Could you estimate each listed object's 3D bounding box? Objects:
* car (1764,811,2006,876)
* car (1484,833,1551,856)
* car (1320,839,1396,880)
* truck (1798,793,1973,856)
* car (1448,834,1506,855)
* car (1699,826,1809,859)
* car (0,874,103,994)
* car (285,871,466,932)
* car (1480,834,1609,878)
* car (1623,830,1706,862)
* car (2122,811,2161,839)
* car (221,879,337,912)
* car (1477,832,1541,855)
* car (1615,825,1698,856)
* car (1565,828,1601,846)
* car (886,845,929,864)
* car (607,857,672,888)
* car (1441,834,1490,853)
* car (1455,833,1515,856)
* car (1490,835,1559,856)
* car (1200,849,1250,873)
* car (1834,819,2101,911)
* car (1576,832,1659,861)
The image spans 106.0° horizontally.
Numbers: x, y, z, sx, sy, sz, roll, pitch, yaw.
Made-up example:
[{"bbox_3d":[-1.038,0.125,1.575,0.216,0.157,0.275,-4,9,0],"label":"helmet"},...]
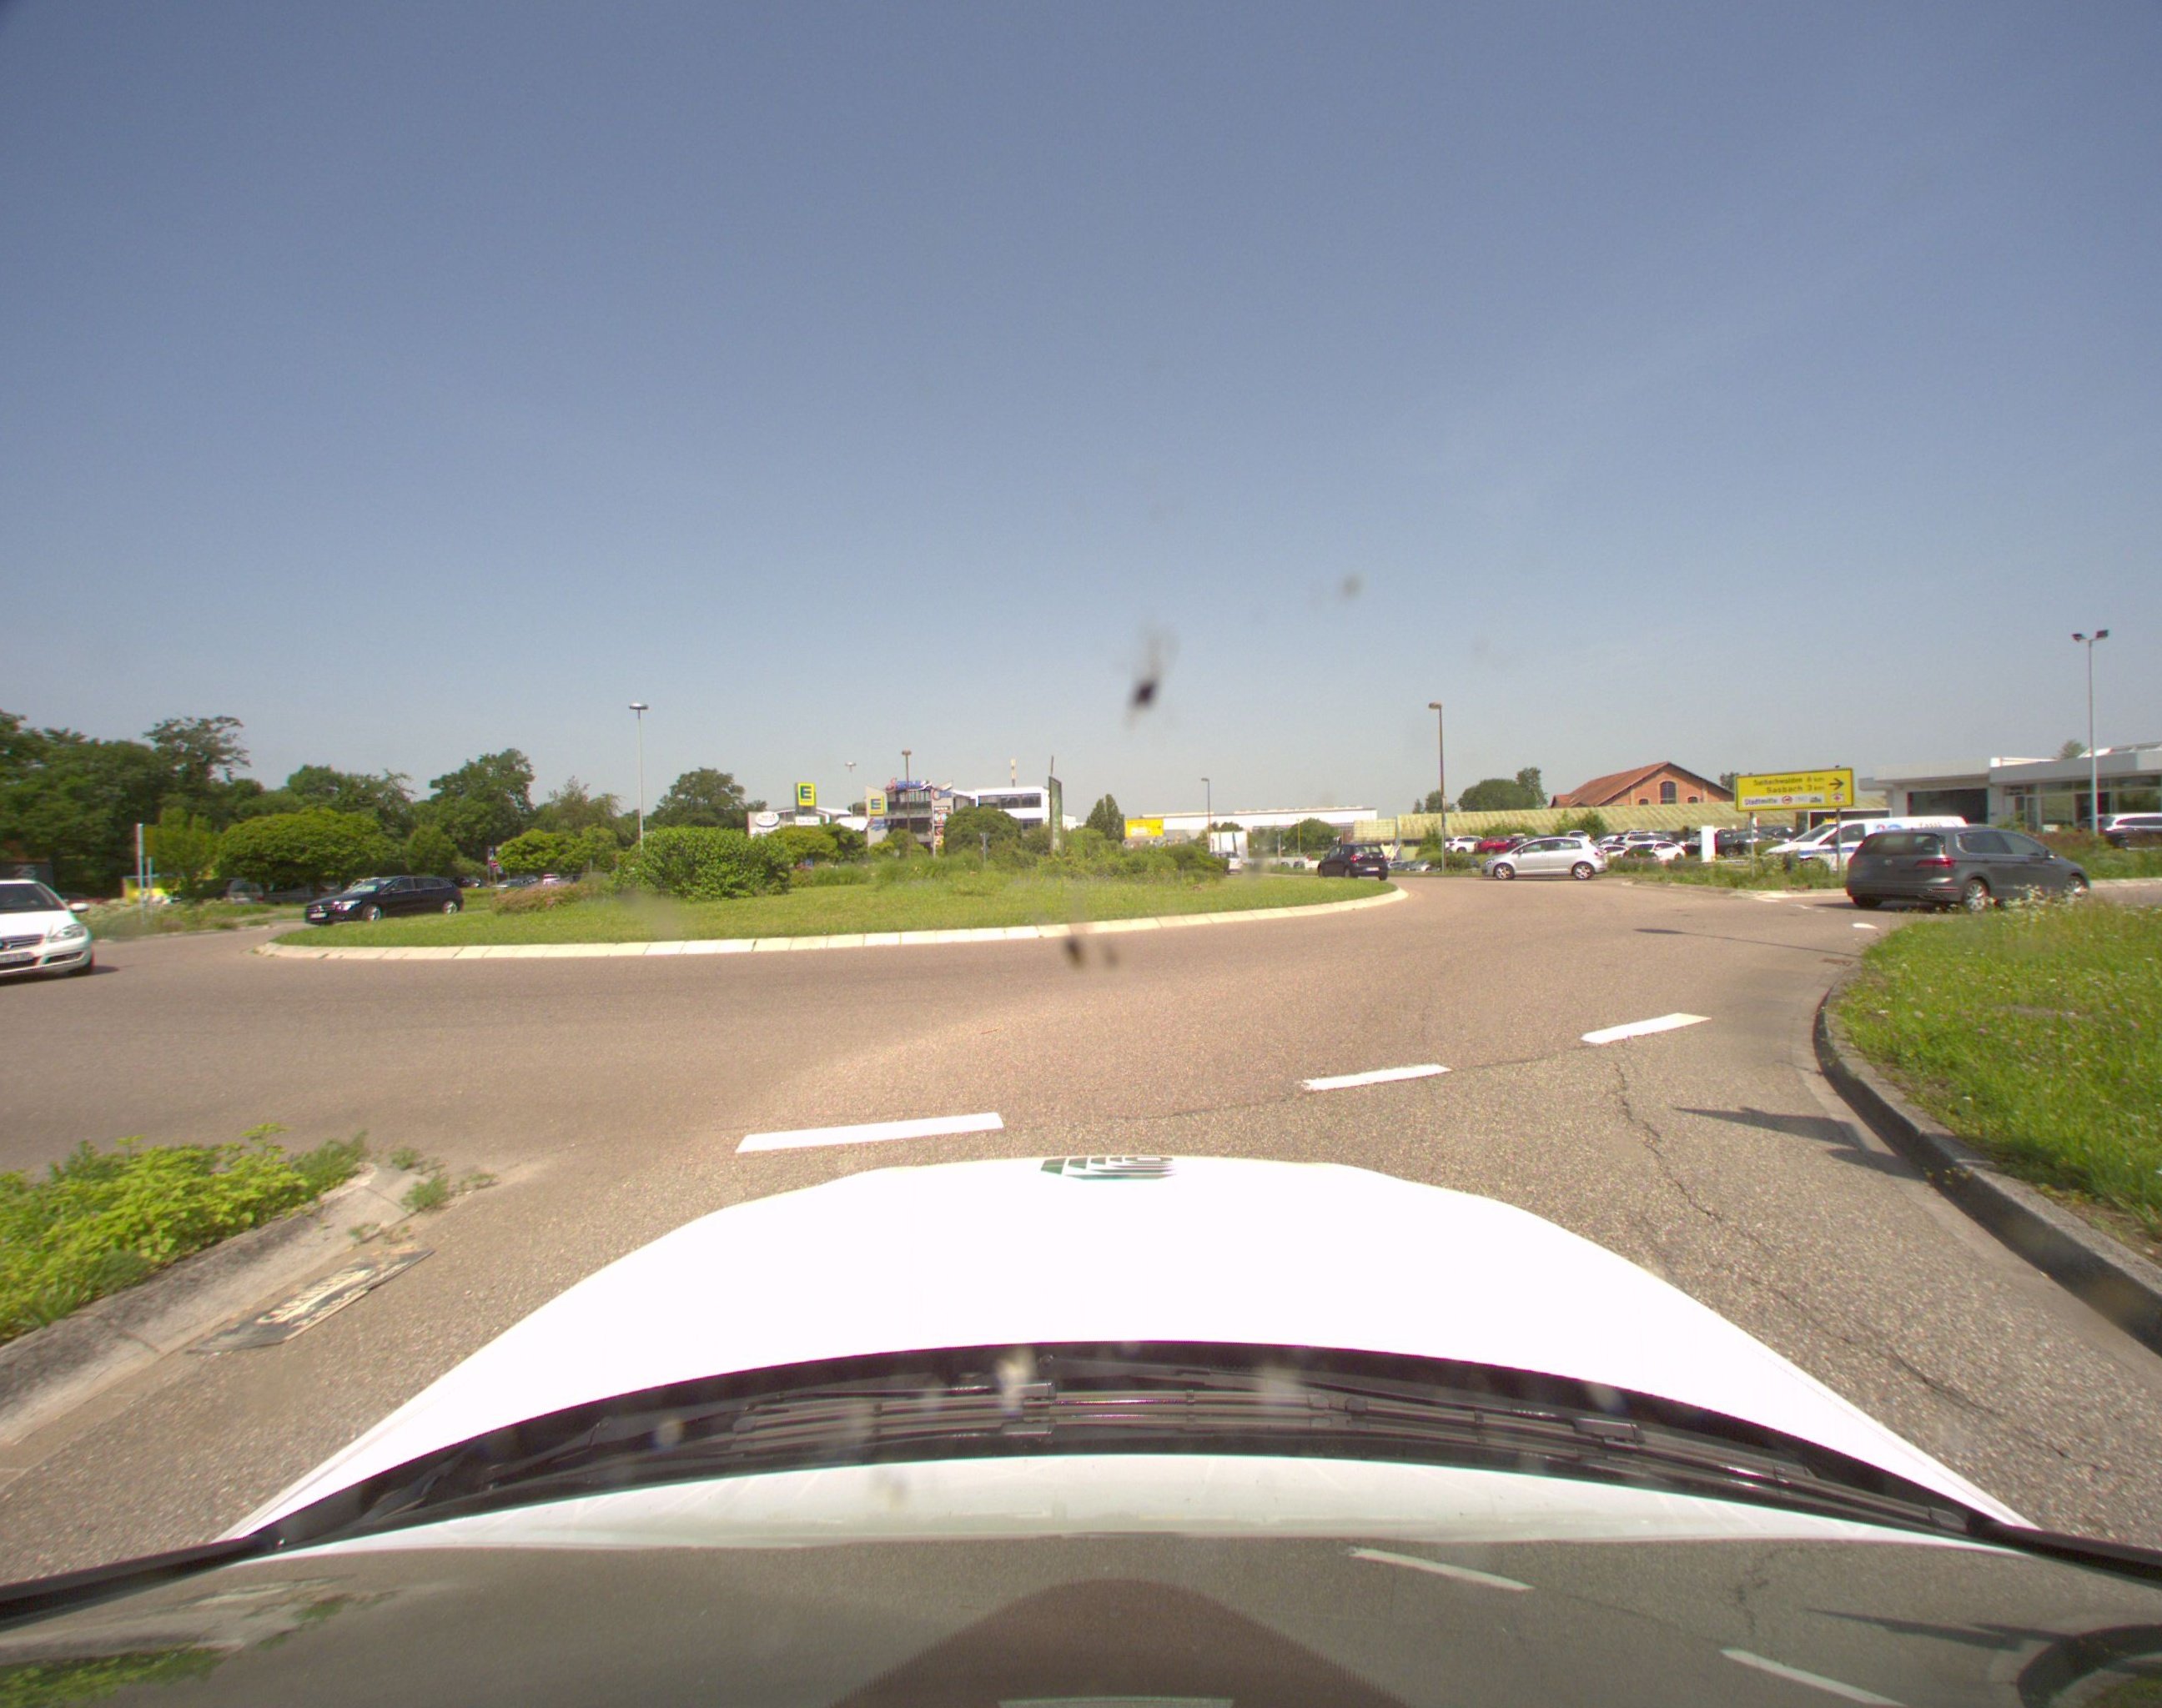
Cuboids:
[{"bbox_3d":[25.507,-0.268,26.106,5.167,1.938,1.871,-1,-1,22],"label":"car"},{"bbox_3d":[35.143,-0.770,65.665,4.418,1.635,1.958,-2,0,17],"label":"car"},{"bbox_3d":[11.194,0.237,33.194,1.773,1.530,4.000,0,-1,1],"label":"car"},{"bbox_3d":[38.196,-1.373,38.878,5.559,2.665,1.960,-2,0,22],"label":"truck"},{"bbox_3d":[35.518,-0.850,73.221,4.418,1.747,1.847,-2,0,17],"label":"car"},{"bbox_3d":[38.475,-0.622,46.707,4.377,1.500,1.958,-5,-2,17],"label":"car"},{"bbox_3d":[-16.913,1.177,12.448,3.843,1.603,1.798,0,2,29],"label":"car"},{"bbox_3d":[-23.090,1.499,26.895,1.741,1.530,4.227,-4,1,11],"label":"car"},{"bbox_3d":[17.214,0.105,30.304,4.033,1.530,1.796,-1,-1,32],"label":"car"},{"bbox_3d":[34.751,-0.484,48.484,4.671,1.570,1.755,-4,1,-23],"label":"car"},{"bbox_3d":[62.687,-1.724,46.231,3.992,1.586,1.920,-2,0,22],"label":"car"},{"bbox_3d":[-42.841,2.182,43.688,1.865,1.561,4.404,0,-1,-1],"label":"car"},{"bbox_3d":[35.763,-0.847,68.166,4.418,1.747,1.958,-2,0,17],"label":"car"},{"bbox_3d":[37.621,-0.845,53.360,3.964,1.750,1.958,-3,0,17],"label":"car"},{"bbox_3d":[46.443,-1.531,75.397,1.901,1.596,4.325,-2,0,19],"label":"car"},{"bbox_3d":[-15.125,0.061,70.886,3.286,1.574,1.563,-2,-1,17],"label":"car"},{"bbox_3d":[-29.747,1.227,55.011,1.677,2.014,4.010,-1,-1,9],"label":"car"},{"bbox_3d":[35.684,-0.954,75.723,3.845,1.532,1.776,-2,0,17],"label":"car"},{"bbox_3d":[35.109,-0.809,70.925,4.418,1.747,1.847,-2,0,17],"label":"car"},{"bbox_3d":[34.603,-0.663,63.645,4.418,1.500,1.958,-2,0,17],"label":"car"},{"bbox_3d":[8.749,0.431,49.688,1.779,1.407,4.073,0,-1,-9],"label":"car"},{"bbox_3d":[16.757,0.174,15.441,4.035,1.484,1.764,-2,0,-16],"label":"car"},{"bbox_3d":[33.436,-0.460,50.789,4.574,1.570,1.758,-3,-1,-17],"label":"car"}]
